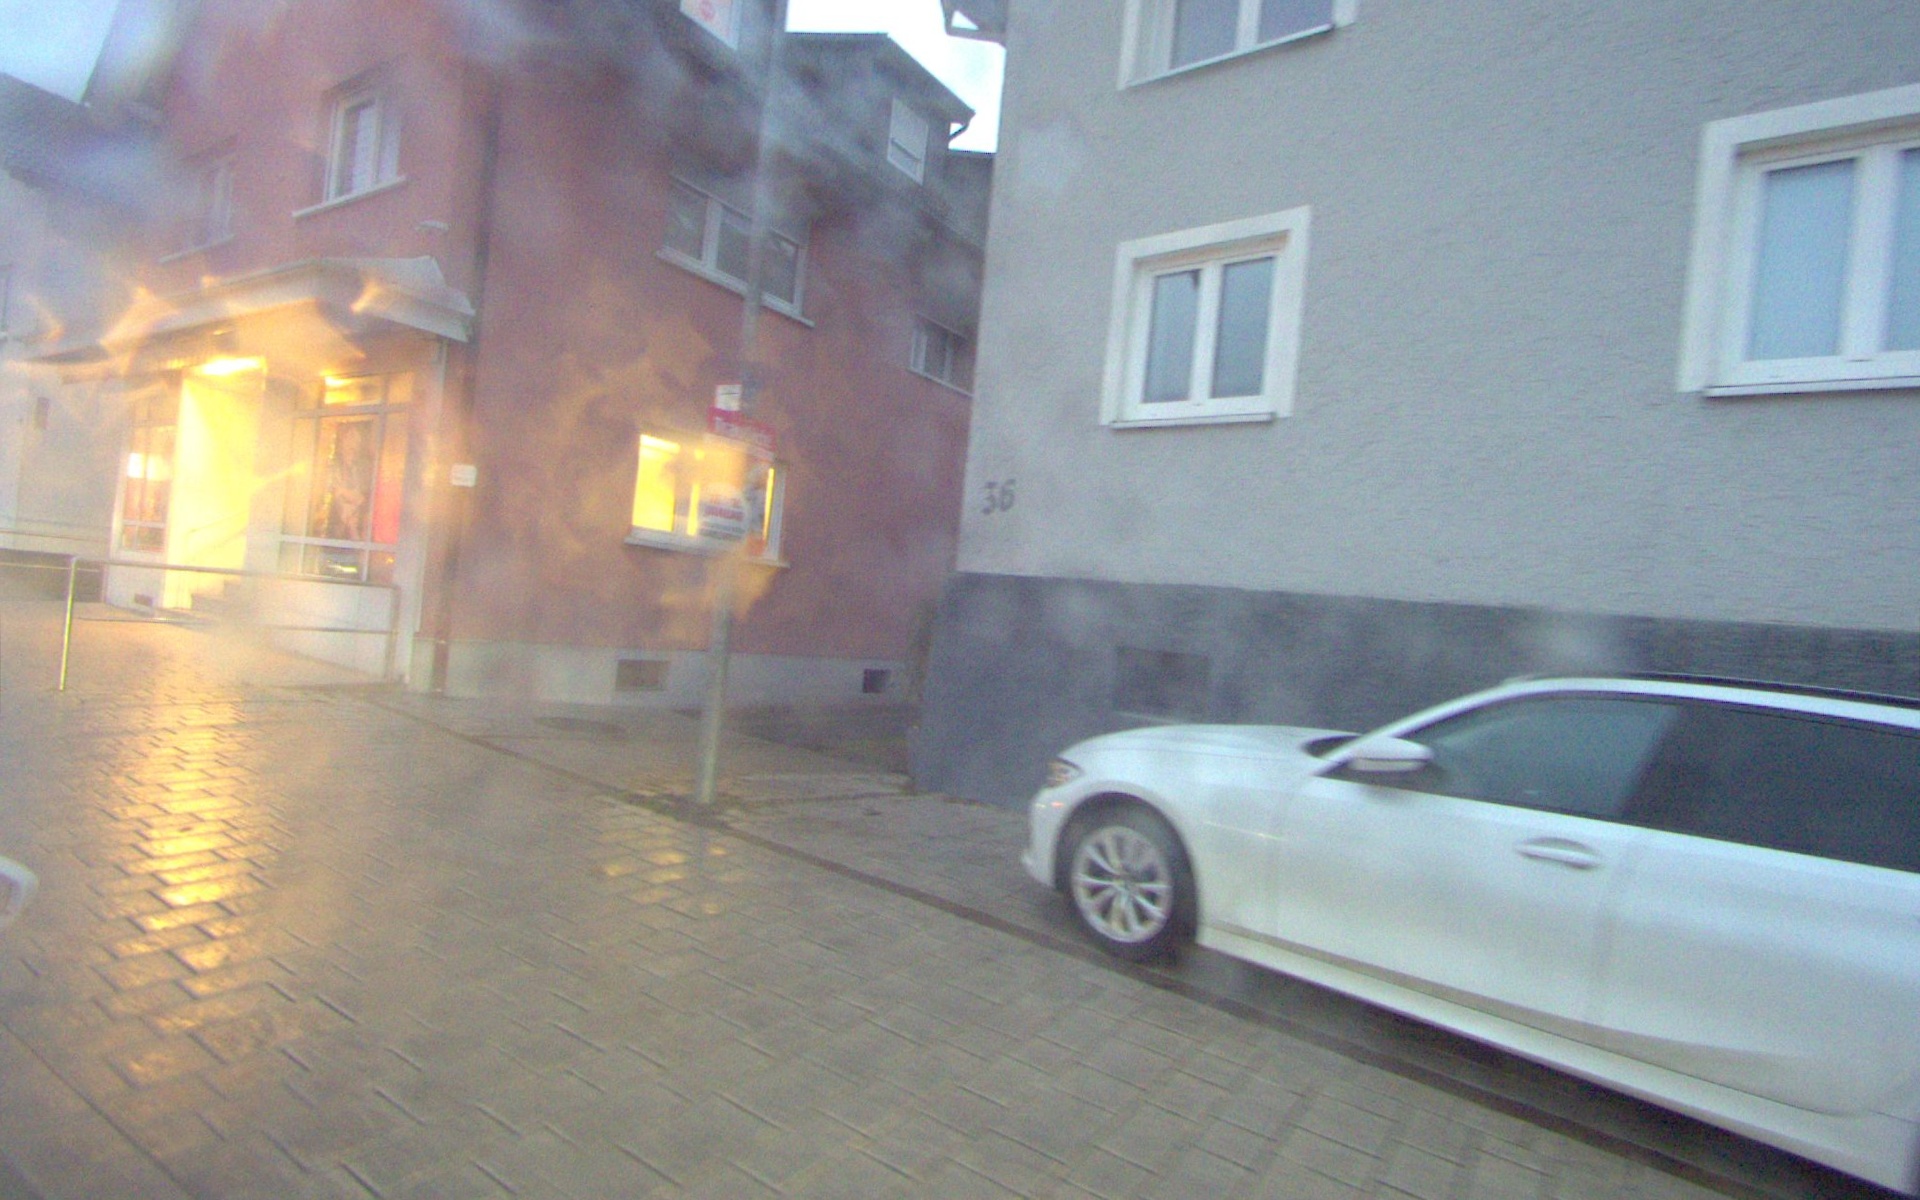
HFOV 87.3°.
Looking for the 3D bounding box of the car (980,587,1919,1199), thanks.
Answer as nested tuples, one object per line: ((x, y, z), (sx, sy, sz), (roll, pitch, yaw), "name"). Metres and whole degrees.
((2.442, 0.939, 3.784), (4.479, 1.485, 1.880), (7, 1, 41), "car")
